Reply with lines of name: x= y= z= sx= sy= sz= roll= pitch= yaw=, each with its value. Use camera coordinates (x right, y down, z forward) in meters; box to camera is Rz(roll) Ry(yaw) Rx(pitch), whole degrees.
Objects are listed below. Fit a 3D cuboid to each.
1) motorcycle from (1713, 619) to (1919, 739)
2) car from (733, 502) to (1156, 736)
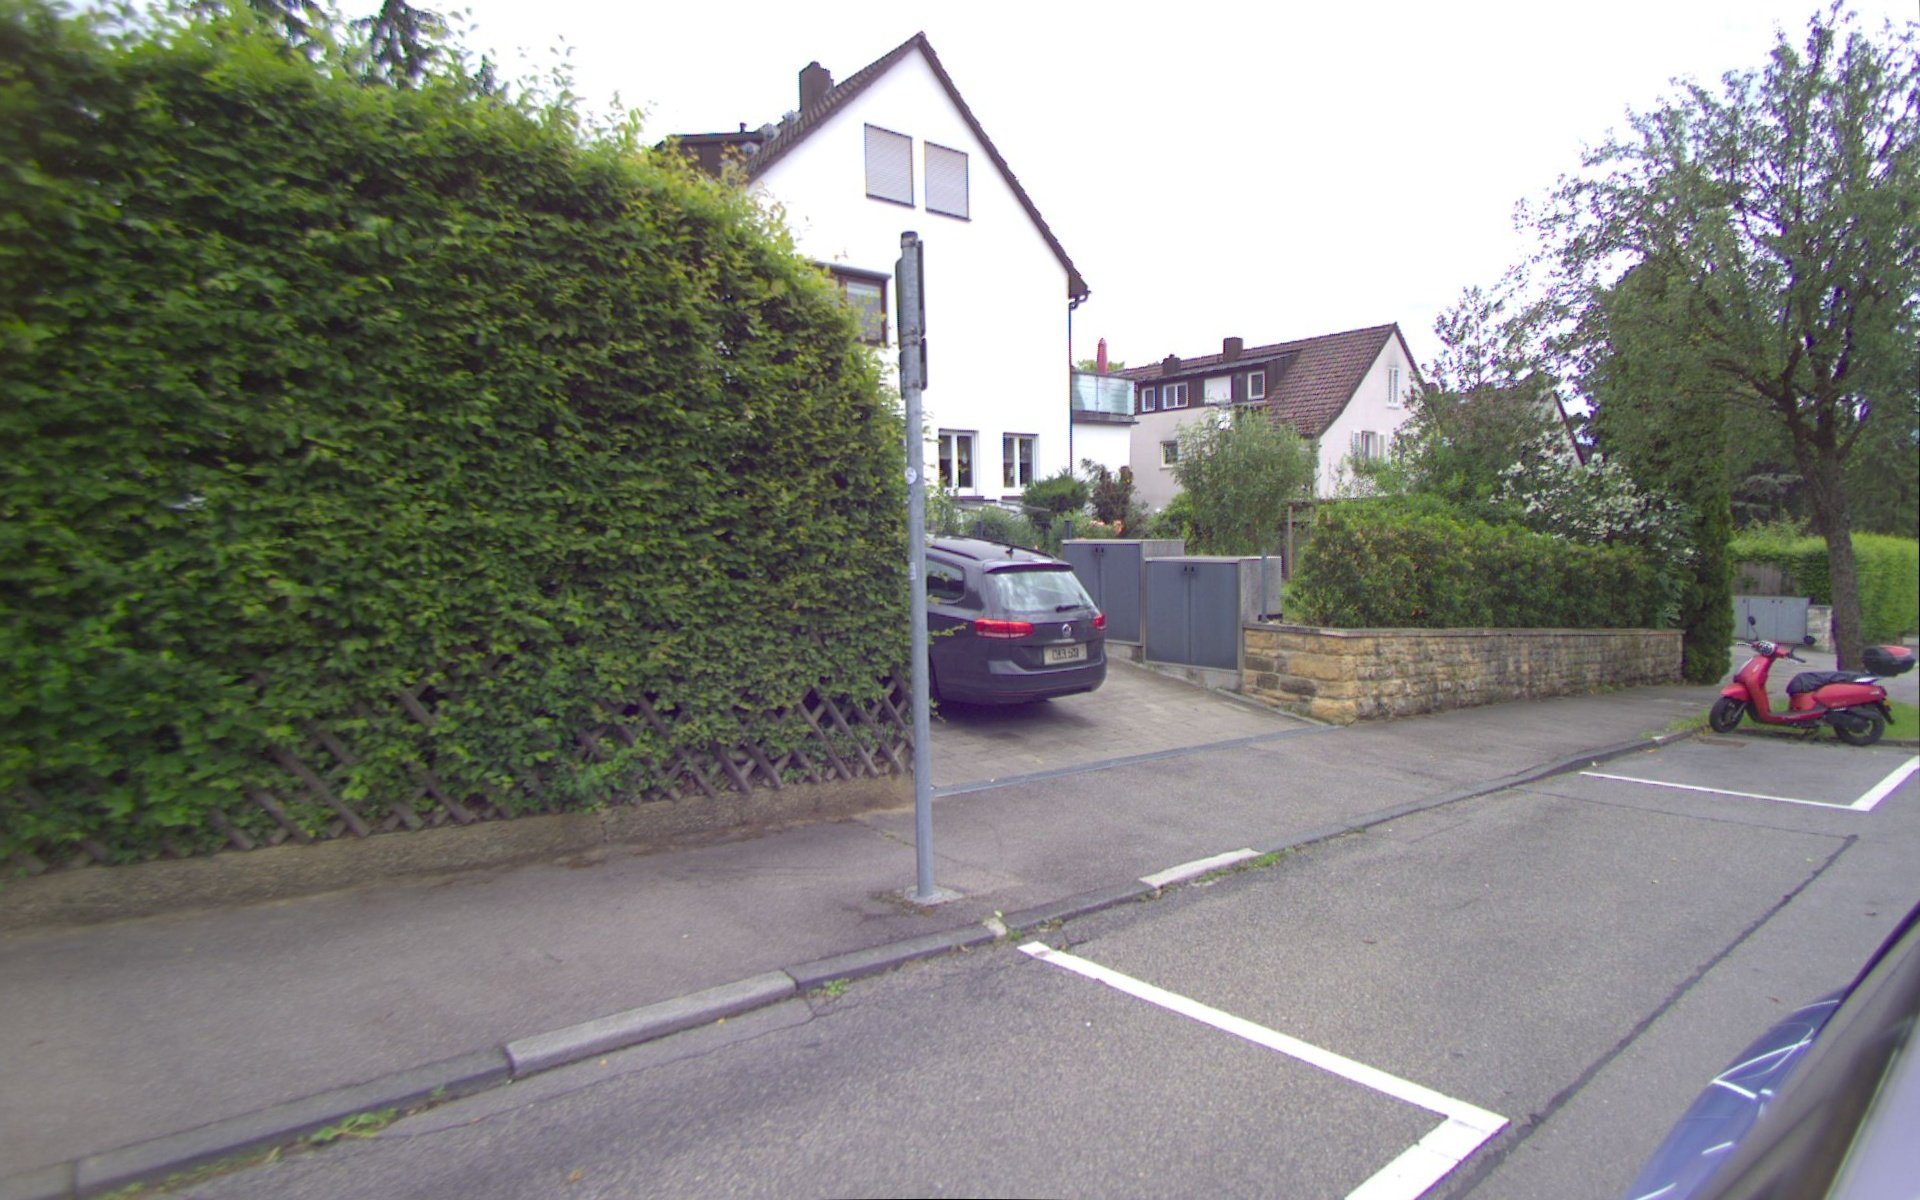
motorcycle: x=9.588 y=0.846 z=11.150 sx=1.918 sy=1.147 sz=0.655 roll=2 pitch=2 yaw=23
car: x=-0.331 y=0.002 z=9.870 sx=1.821 sy=1.521 sz=3.995 roll=-1 pitch=9 yaw=-44
